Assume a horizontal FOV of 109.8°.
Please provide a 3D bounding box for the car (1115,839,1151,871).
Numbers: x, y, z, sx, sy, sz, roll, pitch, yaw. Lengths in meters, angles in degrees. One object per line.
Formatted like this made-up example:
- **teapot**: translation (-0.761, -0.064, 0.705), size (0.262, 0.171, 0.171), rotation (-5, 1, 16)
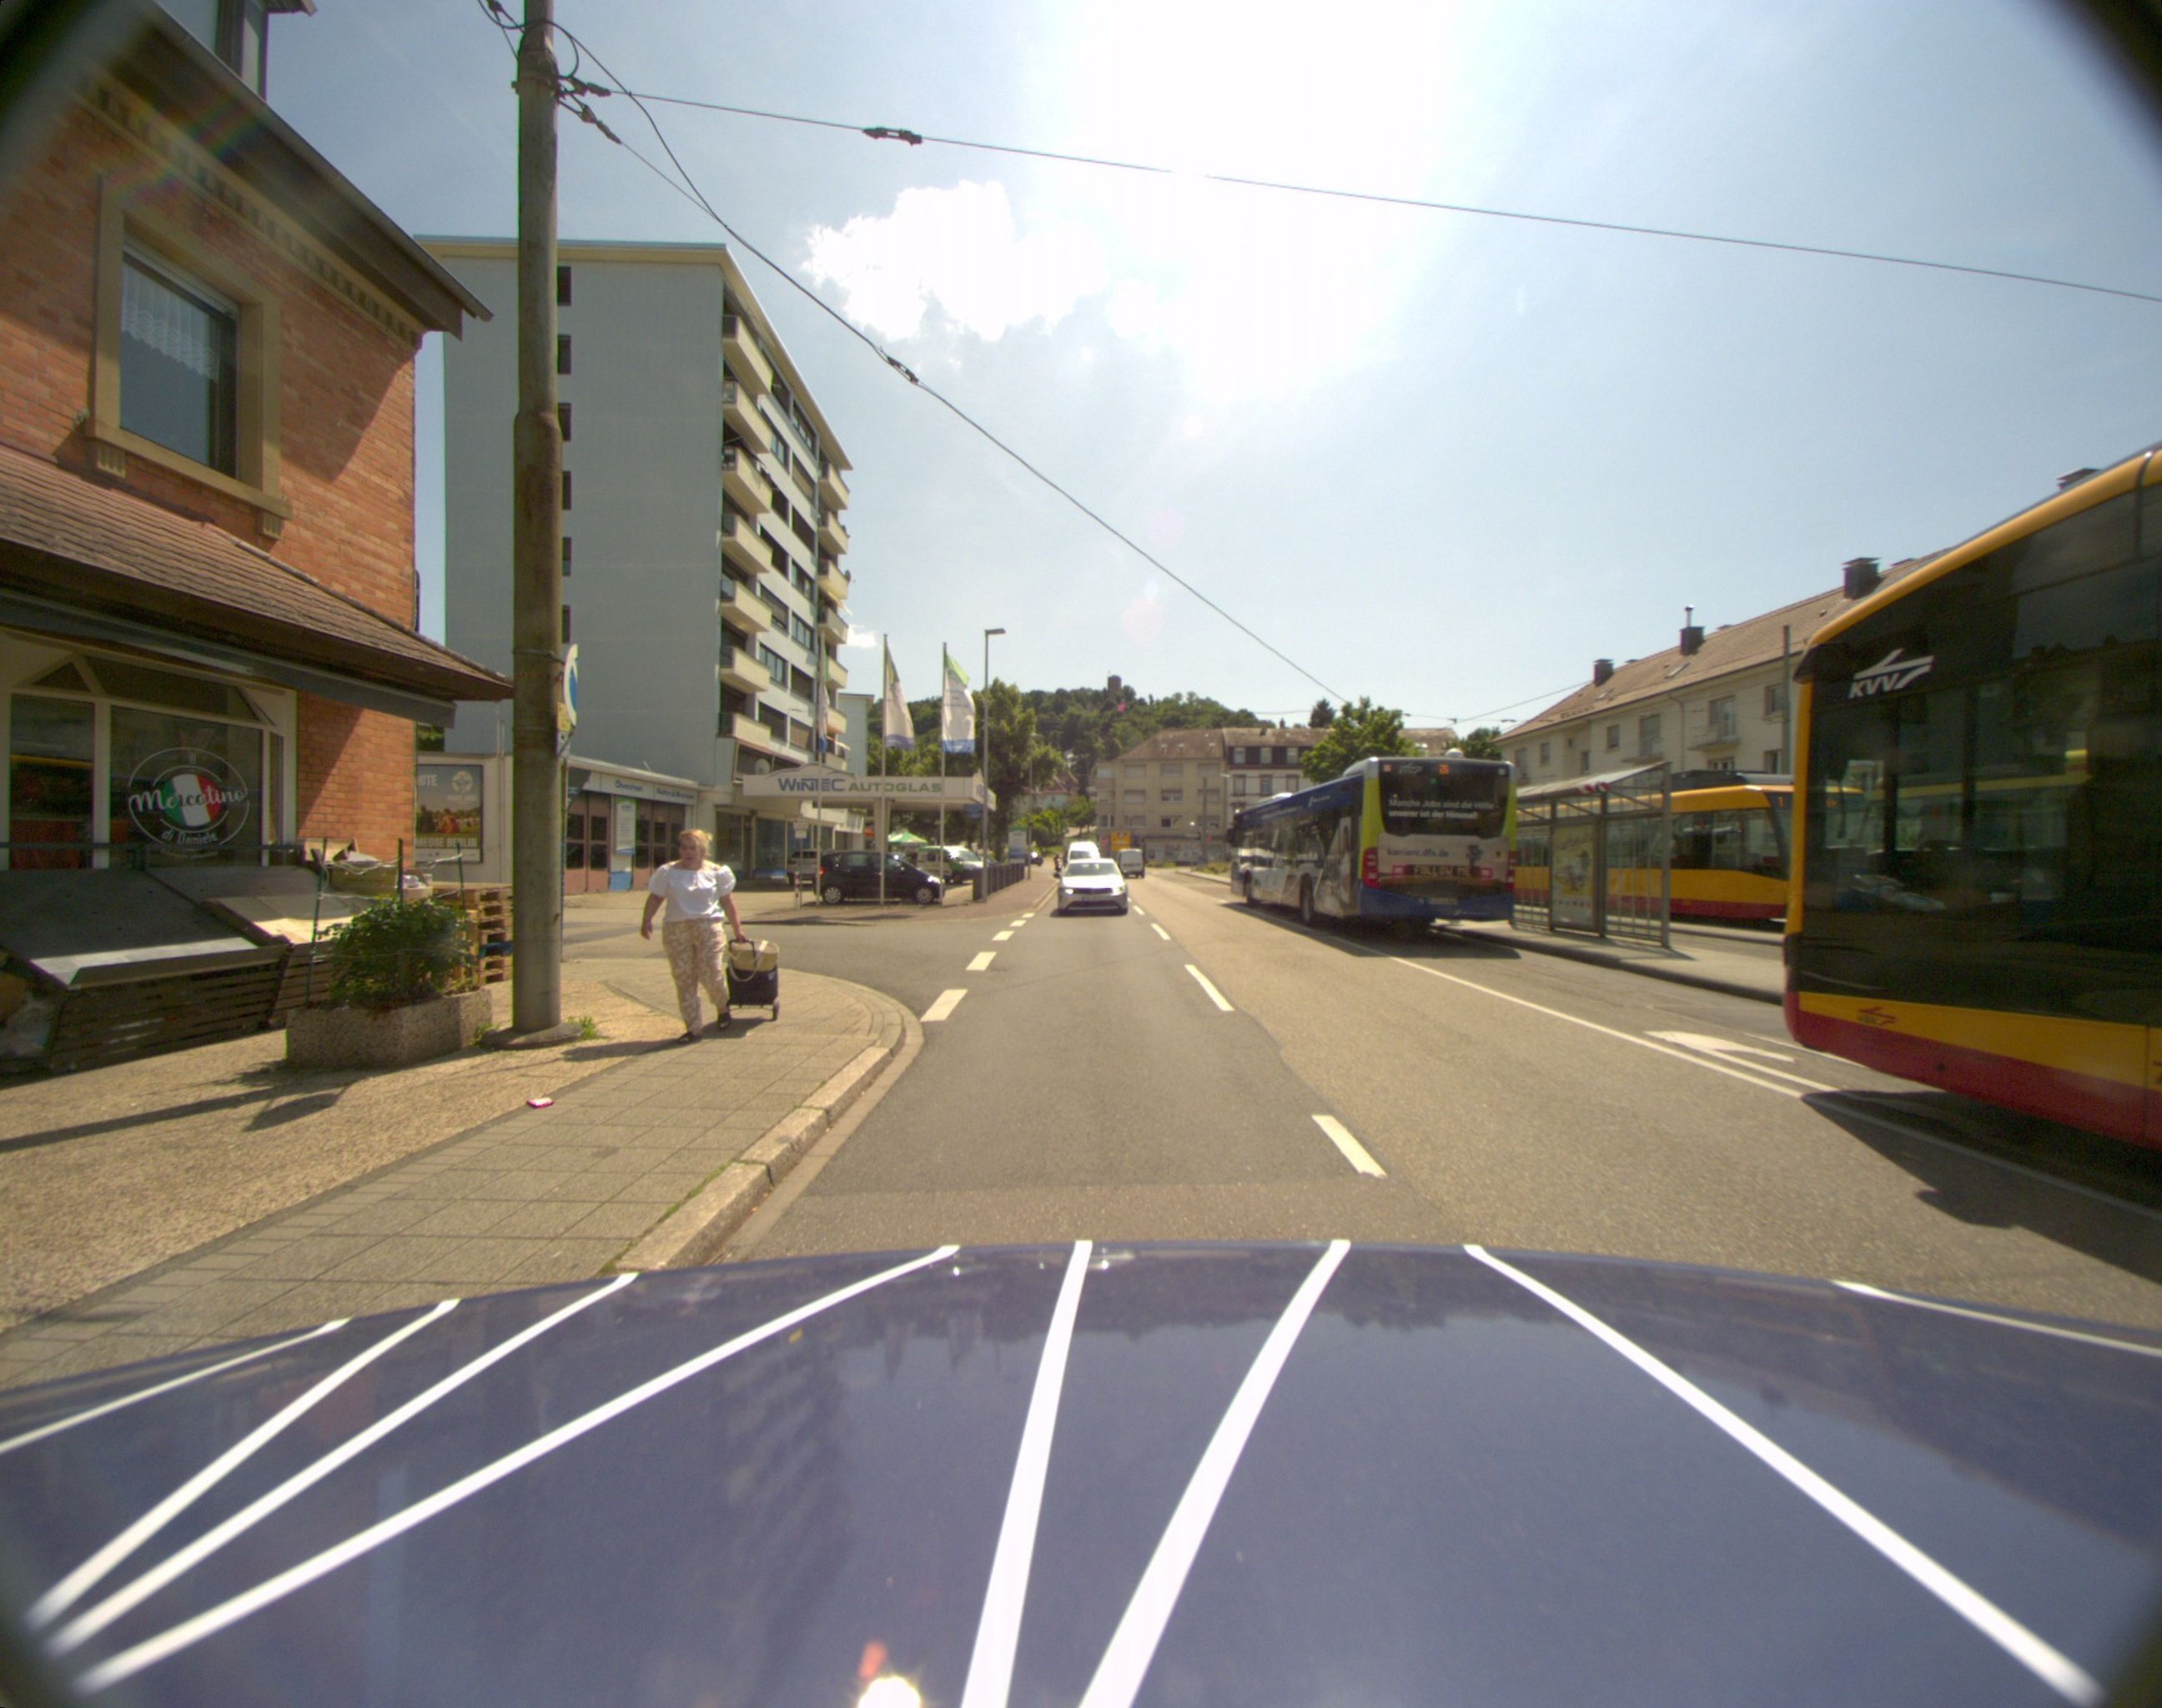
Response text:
- **car**: translation (3.219, 0.014, 48.108), size (1.708, 1.840, 4.710), rotation (-2, 1, -3)

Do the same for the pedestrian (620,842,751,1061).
- **pedestrian**: translation (-3.107, 0.738, 6.038), size (0.707, 1.631, 0.659), rotation (1, -1, -9)

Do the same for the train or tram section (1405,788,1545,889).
- **train or tram section**: translation (14.657, -0.560, 28.668), size (2.971, 3.475, 4.417), rotation (1, 1, 0)

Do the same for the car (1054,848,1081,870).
- **car**: translation (-1.055, 0.398, 61.213), size (1.998, 1.609, 3.999), rotation (-2, 1, 1)

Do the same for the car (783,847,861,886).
- **car**: translation (-11.389, 0.508, 33.756), size (1.750, 1.617, 4.705), rotation (0, 0, 2)

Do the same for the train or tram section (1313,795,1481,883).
- **train or tram section**: translation (14.722, -0.634, 37.127), size (2.971, 3.475, 12.712), rotation (-2, 0, 1)

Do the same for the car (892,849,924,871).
- **car**: translation (-11.767, 0.362, 51.562), size (1.715, 1.392, 4.276), rotation (-1, 1, -18)

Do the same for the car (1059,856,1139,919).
- **car**: translation (0.363, 0.795, 19.920), size (1.819, 1.371, 4.390), rotation (-1, 1, -2)

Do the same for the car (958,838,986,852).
- **car**: translation (-16.322, -1.349, 113.987), size (2.398, 2.002, 5.384), rotation (-2, 1, 12)

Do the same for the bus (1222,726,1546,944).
- **bus**: translation (5.986, -0.251, 18.240), size (2.915, 3.406, 12.040), rotation (-2, 0, 0)

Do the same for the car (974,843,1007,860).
- **car**: translation (-11.748, -0.395, 99.234), size (2.398, 2.002, 6.377), rotation (-2, 1, 12)

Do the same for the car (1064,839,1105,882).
- **car**: translation (0.146, 0.306, 43.534), size (1.999, 2.258, 5.442), rotation (-2, 1, -2)

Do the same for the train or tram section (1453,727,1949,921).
- **train or tram section**: translation (14.518, -0.589, 20.310), size (2.971, 3.475, 12.656), rotation (-2, 0, 1)

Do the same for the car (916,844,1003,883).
- **car**: translation (-6.020, 0.450, 37.454), size (4.277, 1.779, 1.826), rotation (-1, 2, 40)

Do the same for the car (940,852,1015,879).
- **car**: translation (-5.938, 0.618, 43.490), size (3.962, 1.420, 1.703), rotation (1, 1, 25)

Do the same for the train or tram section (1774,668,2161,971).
- **train or tram section**: translation (14.380, -0.429, 5.505), size (2.971, 3.621, 17.350), rotation (-2, 0, 1)

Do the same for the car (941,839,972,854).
- **car**: translation (-17.589, -1.054, 107.440), size (2.398, 2.002, 5.384), rotation (-2, 1, 12)

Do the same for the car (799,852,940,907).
- **car**: translation (-6.178, 0.709, 22.586), size (3.890, 1.534, 1.840), rotation (0, 1, -12)
